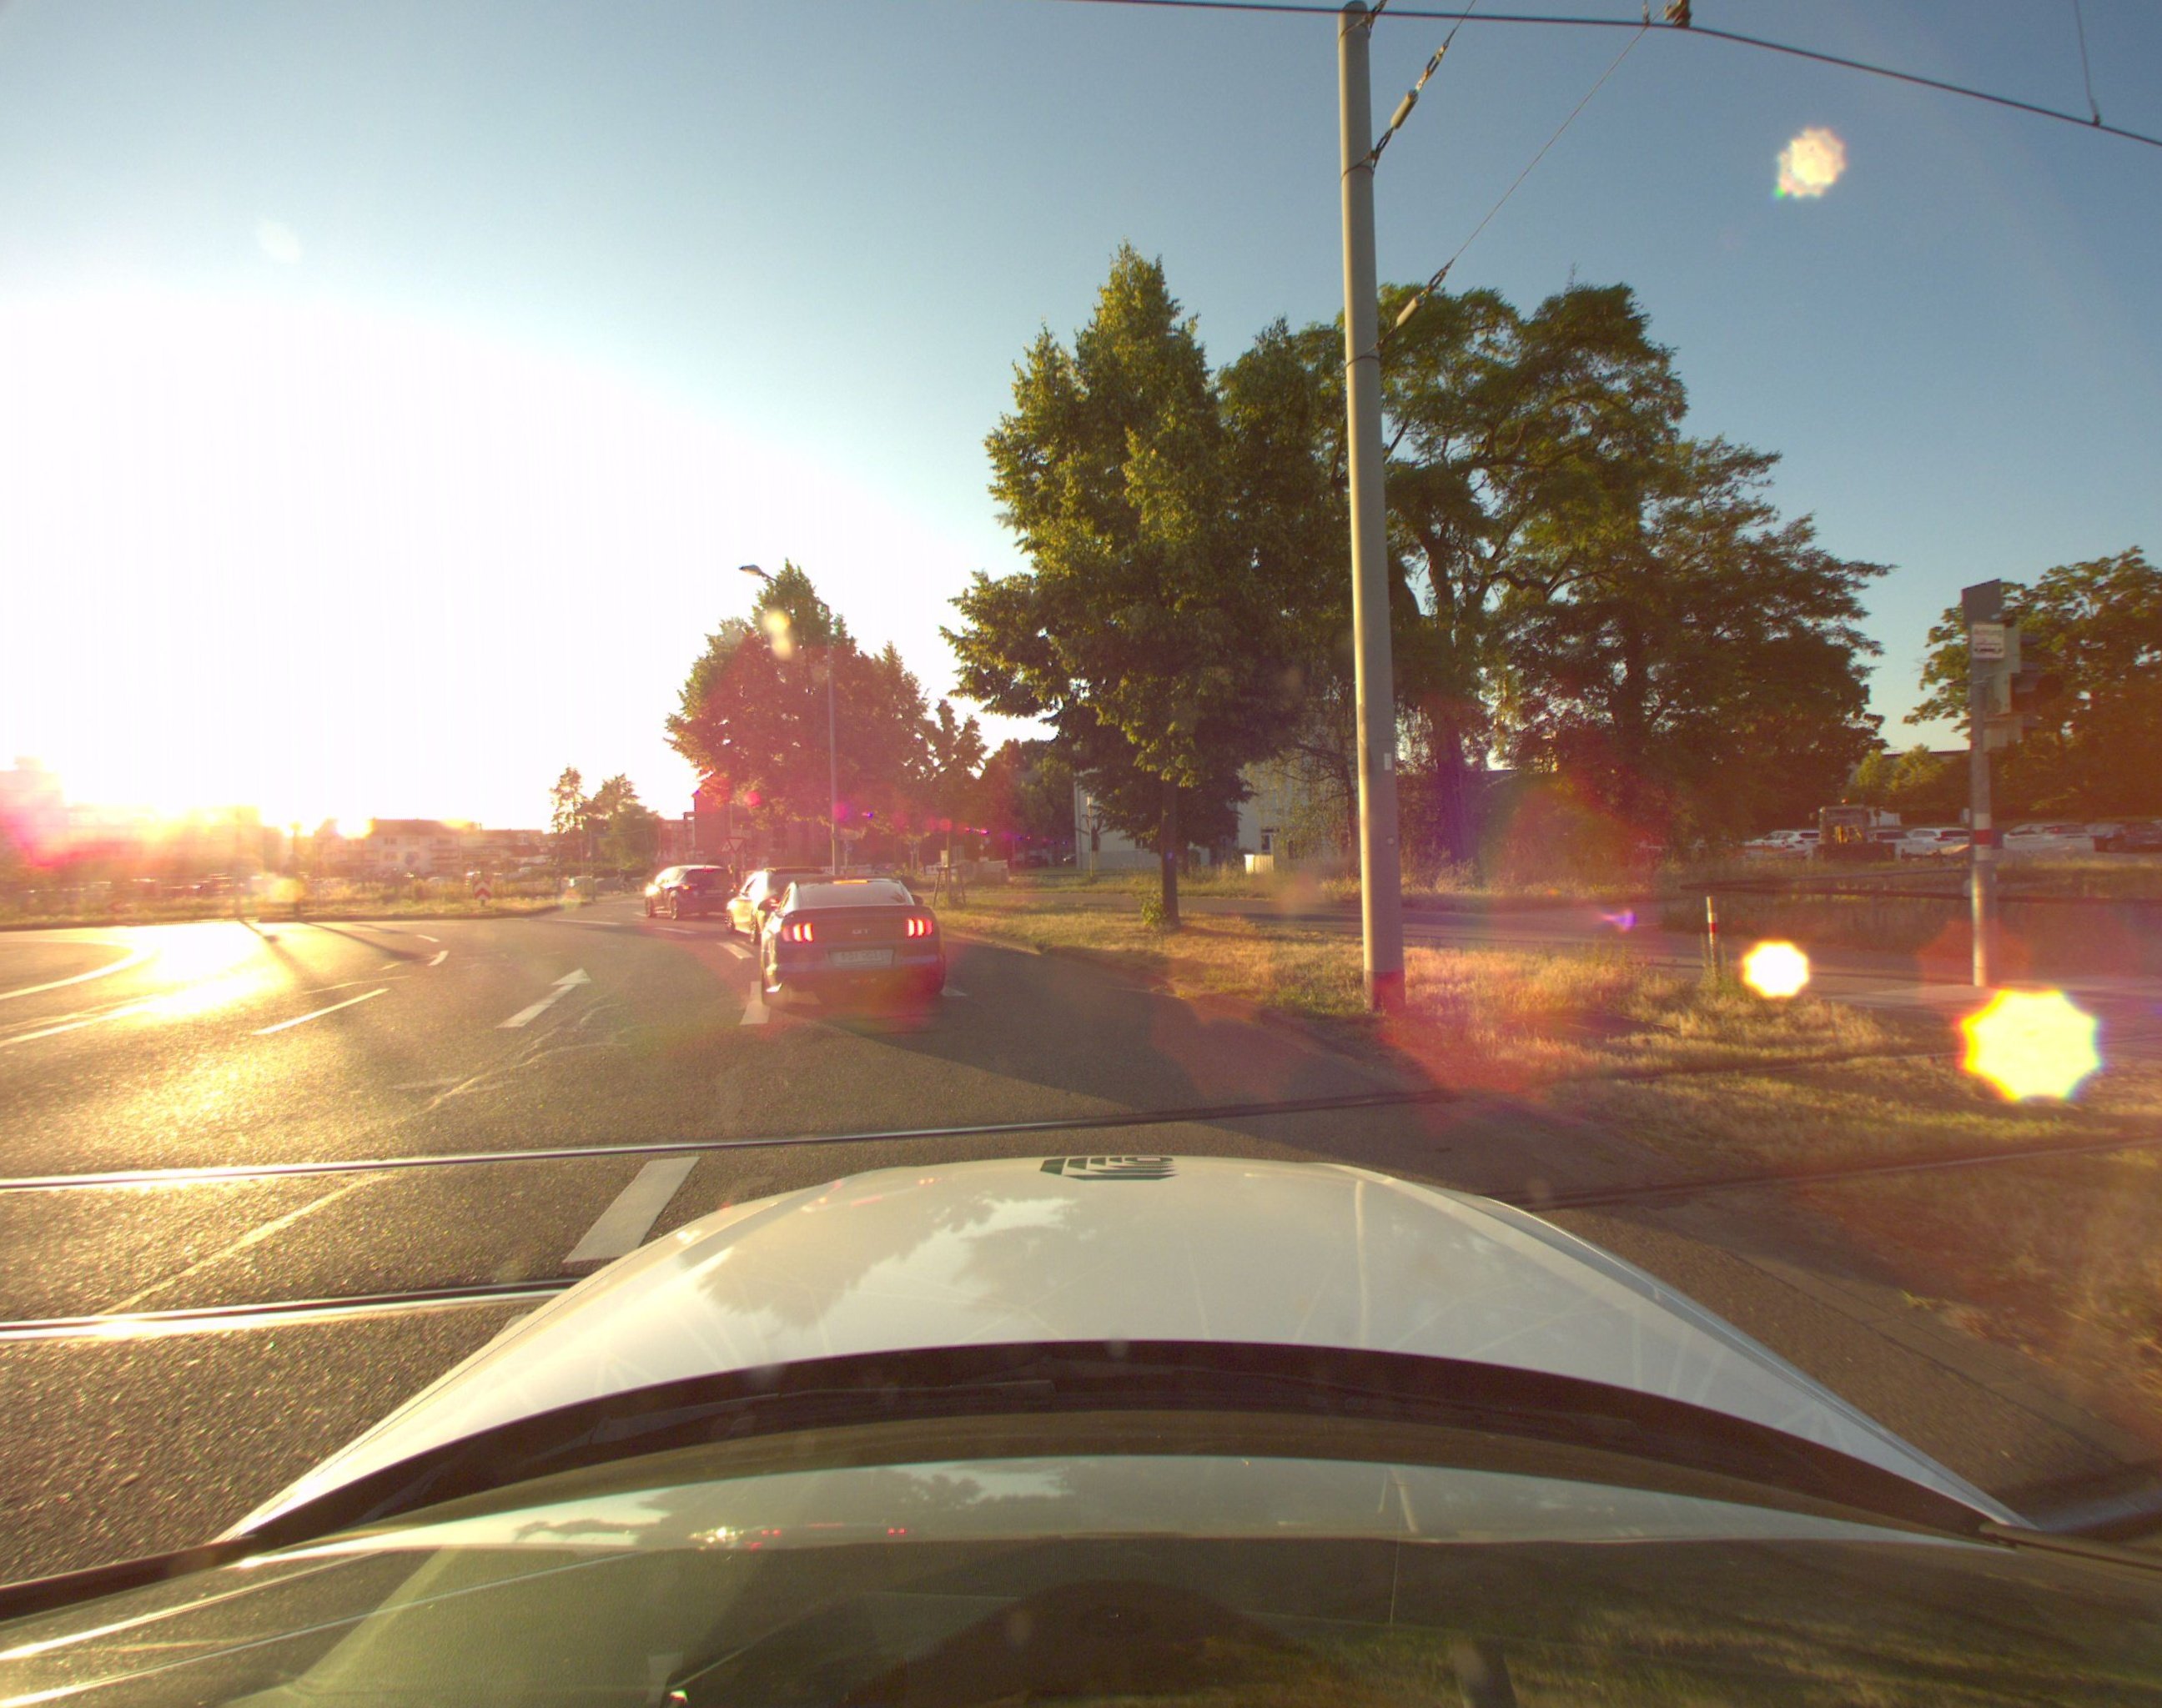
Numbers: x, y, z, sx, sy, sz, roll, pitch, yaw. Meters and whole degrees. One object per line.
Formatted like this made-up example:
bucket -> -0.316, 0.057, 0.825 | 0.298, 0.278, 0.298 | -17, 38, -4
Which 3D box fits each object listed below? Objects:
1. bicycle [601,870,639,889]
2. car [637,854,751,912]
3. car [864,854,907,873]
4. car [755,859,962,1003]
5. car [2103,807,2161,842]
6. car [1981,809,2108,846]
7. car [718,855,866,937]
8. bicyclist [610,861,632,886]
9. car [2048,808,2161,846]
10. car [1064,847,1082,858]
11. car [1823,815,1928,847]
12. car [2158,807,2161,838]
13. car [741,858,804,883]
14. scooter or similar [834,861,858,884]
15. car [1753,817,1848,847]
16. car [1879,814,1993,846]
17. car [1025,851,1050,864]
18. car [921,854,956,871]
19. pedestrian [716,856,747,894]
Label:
bicycle -> -30.614, 1.664, 54.174 | 0.747, 1.167, 2.417 | -2, 0, 12
car -> -11.938, 0.878, 24.981 | 1.969, 1.602, 4.027 | -1, -1, -44
car -> -16.066, 0.777, 67.083 | 1.863, 1.401, 3.931 | -2, 0, 13
car -> -2.932, 0.739, 10.118 | 1.958, 1.342, 4.638 | 0, -1, -21
car -> 51.809, -1.429, 38.680 | 1.934, 1.662, 4.012 | -2, 0, 11
car -> 47.412, -1.255, 40.202 | 1.934, 1.662, 4.012 | -2, 0, 11
car -> -6.048, 0.770, 16.698 | 1.964, 1.427, 4.385 | -1, 0, -32
bicyclist -> -30.606, 1.272, 54.166 | 0.747, 1.612, 0.981 | -2, 0, 11
car -> 49.658, -1.277, 39.155 | 1.934, 1.662, 4.012 | -2, 0, 11
car -> -1.149, -0.260, 120.748 | 1.863, 1.401, 3.930 | -2, 1, 12
car -> 40.259, -1.128, 41.407 | 1.934, 1.445, 4.012 | -2, 0, 11
car -> 54.403, -1.578, 38.546 | 1.885, 1.553, 4.012 | -2, 0, 11
car -> -19.451, 1.028, 51.566 | 1.863, 1.401, 3.929 | -2, 0, 12
scooter or similar -> -12.966, 1.011, 44.913 | 1.129, 1.238, 0.437 | -2, 0, -37
car -> 37.373, -1.109, 42.449 | 1.934, 1.445, 4.012 | -2, 0, 11
car -> 42.461, -1.140, 40.570 | 1.934, 1.445, 4.012 | -2, 0, 11
car -> -5.443, 0.409, 101.970 | 1.861, 1.401, 3.934 | -2, 0, 17
car -> -13.451, 0.807, 77.078 | 1.863, 1.401, 3.930 | -2, 1, 12
pedestrian -> -15.726, 0.940, 36.661 | 0.877, 1.686, 0.850 | -2, 0, 18
